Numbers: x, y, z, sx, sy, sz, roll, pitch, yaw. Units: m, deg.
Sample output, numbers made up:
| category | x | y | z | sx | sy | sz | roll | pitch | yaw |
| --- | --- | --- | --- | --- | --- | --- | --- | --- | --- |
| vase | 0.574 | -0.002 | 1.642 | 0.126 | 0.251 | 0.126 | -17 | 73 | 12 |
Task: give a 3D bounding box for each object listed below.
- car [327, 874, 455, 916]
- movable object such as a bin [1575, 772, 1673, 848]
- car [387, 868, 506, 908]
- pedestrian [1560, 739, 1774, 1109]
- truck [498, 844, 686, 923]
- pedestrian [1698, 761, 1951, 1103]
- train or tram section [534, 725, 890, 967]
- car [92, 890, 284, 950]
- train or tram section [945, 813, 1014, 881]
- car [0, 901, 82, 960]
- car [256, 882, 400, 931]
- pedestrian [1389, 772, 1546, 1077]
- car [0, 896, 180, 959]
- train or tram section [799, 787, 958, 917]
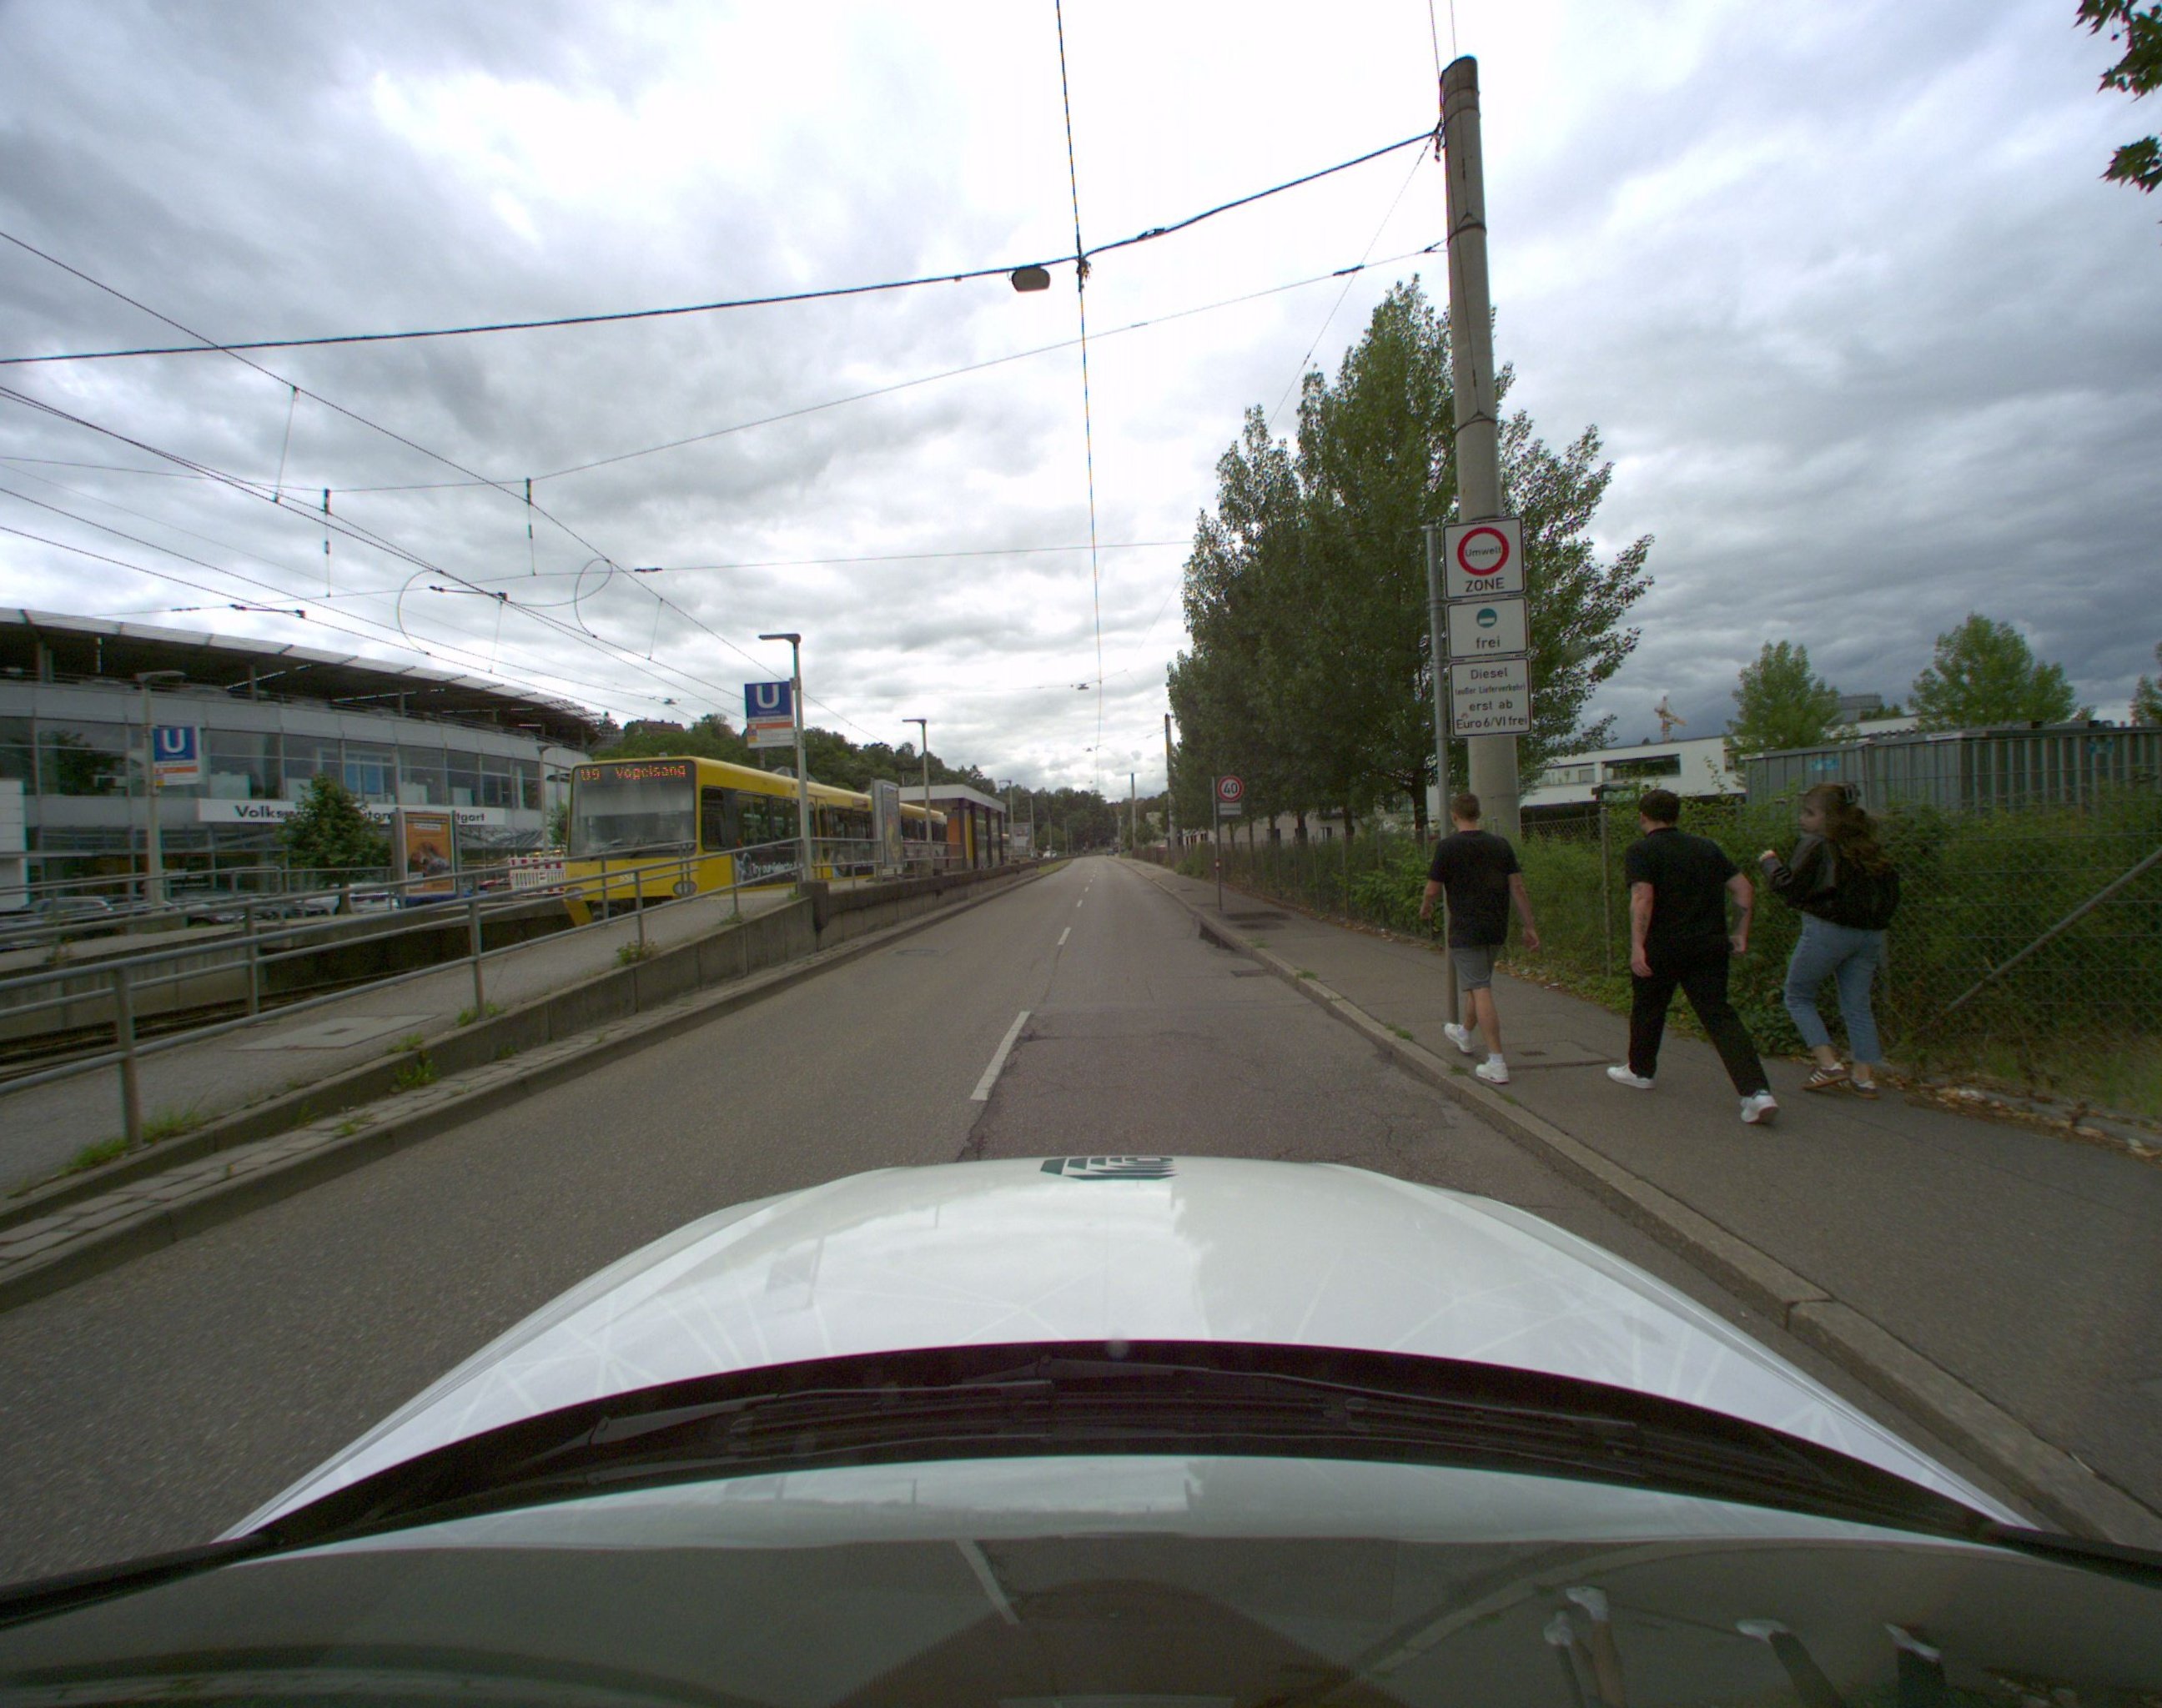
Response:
| category | x | y | z | sx | sy | sz | roll | pitch | yaw |
| --- | --- | --- | --- | --- | --- | --- | --- | --- | --- |
| car | -29.630 | 1.762 | 35.050 | 3.968 | 1.554 | 1.930 | -3 | -3 | 5 |
| movable object such as a bin | 17.927 | -1.356 | 27.103 | 1.975 | 2.014 | 4.319 | -5 | -4 | 26 |
| car | -28.887 | 1.559 | 37.147 | 3.968 | 1.554 | 1.930 | -3 | -3 | 5 |
| pedestrian | 3.197 | 0.361 | 4.510 | 0.600 | 1.867 | 0.672 | -3 | -1 | 2 |
| truck | -22.040 | 1.175 | 37.579 | 2.683 | 3.078 | 9.015 | -3 | 0 | 3 |
| pedestrian | 3.992 | 0.403 | 4.441 | 0.600 | 1.690 | 0.672 | -3 | -4 | 2 |
| train or tram section | -7.656 | -0.241 | 19.771 | 2.731 | 3.966 | 11.916 | -3 | 1 | 1 |
| car | -29.418 | 2.147 | 26.944 | 3.978 | 1.554 | 1.925 | -3 | 1 | -4 |
| train or tram section | -6.725 | -0.499 | 55.656 | 2.961 | 4.064 | 10.200 | -3 | 1 | 1 |
| car | -30.463 | 2.160 | 22.152 | 3.978 | 1.554 | 1.924 | -3 | -3 | -4 |
| car | -29.717 | 2.047 | 32.219 | 3.968 | 1.554 | 1.930 | -3 | 1 | 5 |
| pedestrian | 2.529 | 0.451 | 5.416 | 0.600 | 1.868 | 0.672 | -3 | -4 | 2 |
| car | -30.364 | 2.211 | 24.553 | 3.978 | 1.554 | 1.925 | -3 | 1 | -4 |
| train or tram section | -7.299 | -0.174 | 31.748 | 2.731 | 3.966 | 11.916 | -3 | 1 | 1 |
